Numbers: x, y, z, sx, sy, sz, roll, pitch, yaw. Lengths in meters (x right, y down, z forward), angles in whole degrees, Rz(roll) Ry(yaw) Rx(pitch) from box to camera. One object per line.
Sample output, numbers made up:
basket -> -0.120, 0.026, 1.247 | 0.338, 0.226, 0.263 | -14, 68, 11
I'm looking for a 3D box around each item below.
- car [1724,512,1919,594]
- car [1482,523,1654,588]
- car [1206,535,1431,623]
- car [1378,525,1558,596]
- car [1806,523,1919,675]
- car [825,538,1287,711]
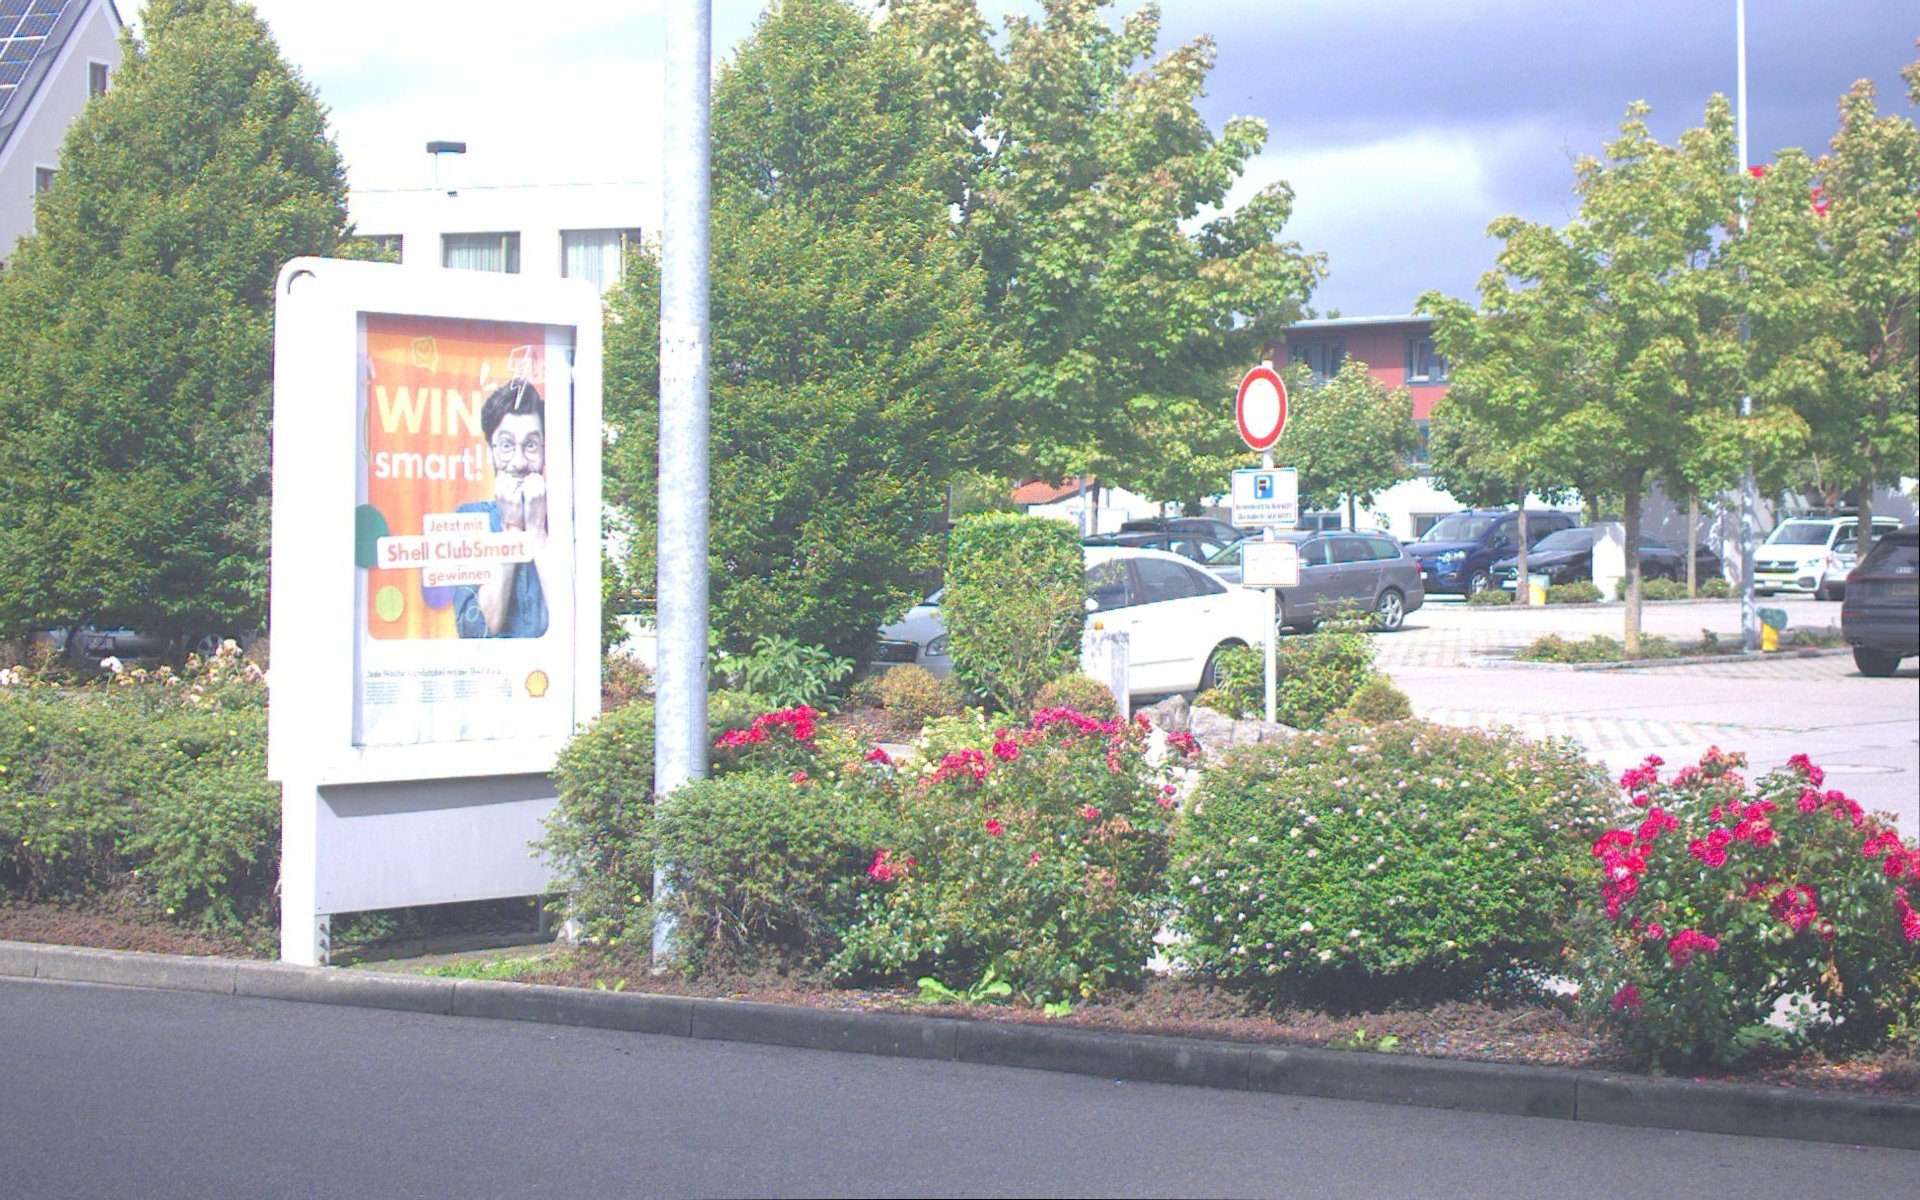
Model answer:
car -> 20.251, -1.088, 80.639 | 4.864, 1.827, 2.184 | 0, 1, -43
car -> 11.517, -0.842, 65.033 | 3.409, 1.174, 1.485 | 0, 1, -44
car -> 5.203, -0.293, 49.714 | 3.218, 1.224, 1.505 | 0, 1, -44
car -> 9.888, -0.761, 66.781 | 3.379, 1.316, 1.747 | 0, 1, -44
car -> 11.133, -0.009, 36.728 | 4.491, 1.543, 1.885 | 0, 1, -43
car -> 0.903, 0.200, 29.925 | 4.332, 1.399, 1.370 | 0, 1, -44
